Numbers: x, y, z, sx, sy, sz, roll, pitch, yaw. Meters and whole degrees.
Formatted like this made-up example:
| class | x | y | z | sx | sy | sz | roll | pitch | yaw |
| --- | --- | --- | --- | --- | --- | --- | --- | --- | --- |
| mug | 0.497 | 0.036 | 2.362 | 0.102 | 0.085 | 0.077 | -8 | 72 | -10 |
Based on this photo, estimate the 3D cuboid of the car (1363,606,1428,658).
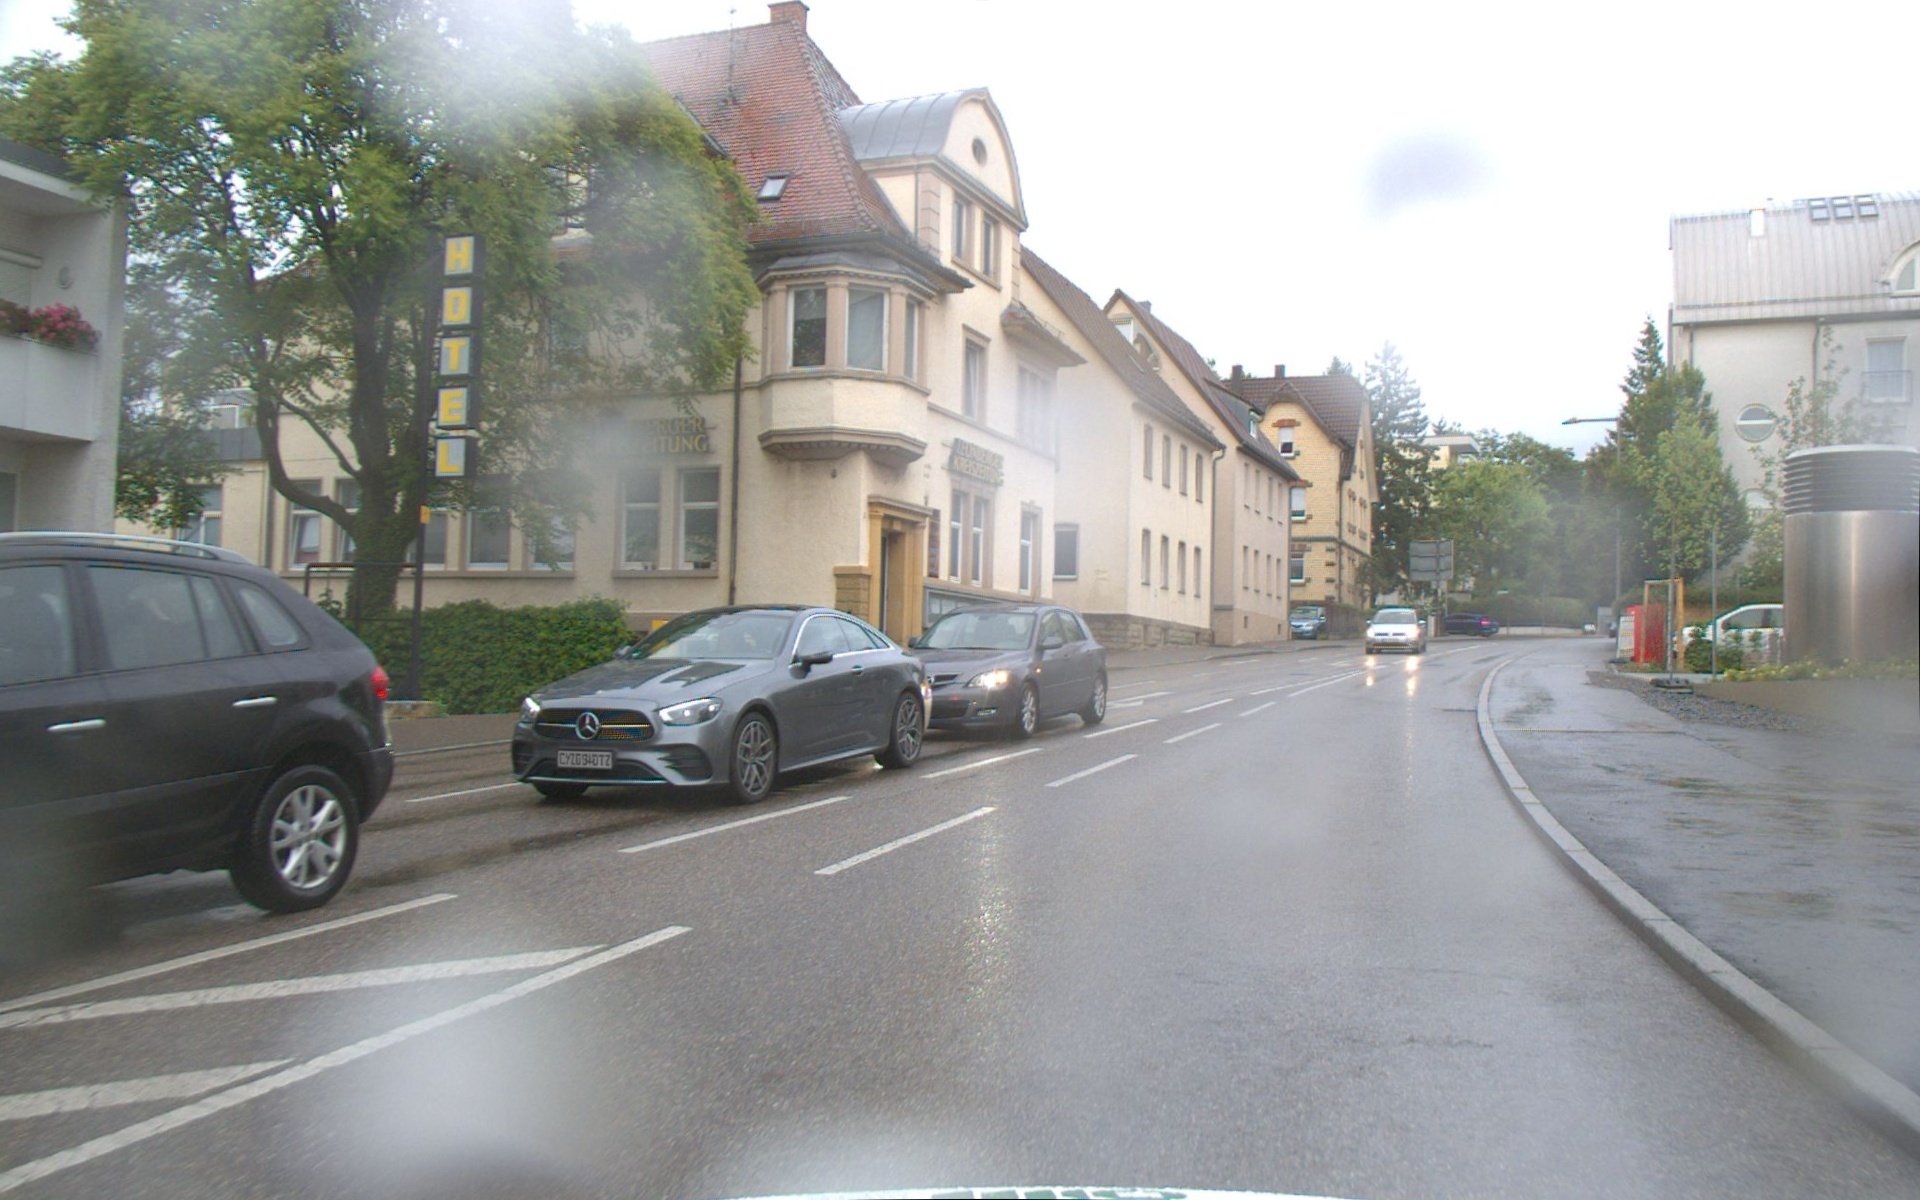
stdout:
| class | x | y | z | sx | sy | sz | roll | pitch | yaw |
| --- | --- | --- | --- | --- | --- | --- | --- | --- | --- |
| car | 14.532 | 1.037 | 55.122 | 1.596 | 1.626 | 3.231 | 2 | 0 | 23 |

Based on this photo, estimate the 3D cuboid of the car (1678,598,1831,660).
| class | x | y | z | sx | sy | sz | roll | pitch | yaw |
| --- | --- | --- | --- | --- | --- | --- | --- | --- | --- |
| car | 18.784 | 0.675 | 39.237 | 3.156 | 1.311 | 1.695 | 2 | 0 | 23 |

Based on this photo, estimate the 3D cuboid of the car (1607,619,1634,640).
| class | x | y | z | sx | sy | sz | roll | pitch | yaw |
| --- | --- | --- | --- | --- | --- | --- | --- | --- | --- |
| car | 45.664 | 2.016 | 114.314 | 1.656 | 1.311 | 3.231 | 2 | 0 | 23 |

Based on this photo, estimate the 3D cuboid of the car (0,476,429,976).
| class | x | y | z | sx | sy | sz | roll | pitch | yaw |
| --- | --- | --- | --- | --- | --- | --- | --- | --- | --- |
| car | -4.271 | 0.479 | 6.655 | 1.736 | 1.847 | 4.315 | -1 | -1 | 21 |

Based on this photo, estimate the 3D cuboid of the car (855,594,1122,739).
| class | x | y | z | sx | sy | sz | roll | pitch | yaw |
| --- | --- | --- | --- | --- | --- | --- | --- | --- | --- |
| car | 0.463 | 0.714 | 19.184 | 1.736 | 1.477 | 4.186 | -1 | -1 | 21 |

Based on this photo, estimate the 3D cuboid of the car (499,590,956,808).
| class | x | y | z | sx | sy | sz | roll | pitch | yaw |
| --- | --- | --- | --- | --- | --- | --- | --- | --- | --- |
| car | -1.673 | 0.705 | 13.643 | 1.736 | 1.477 | 4.539 | -1 | -1 | 21 |

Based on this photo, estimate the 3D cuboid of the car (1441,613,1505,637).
| class | x | y | z | sx | sy | sz | roll | pitch | yaw |
| --- | --- | --- | --- | --- | --- | --- | --- | --- | --- |
| car | 31.158 | 1.524 | 100.430 | 3.612 | 1.311 | 1.696 | 2 | 0 | 20 |

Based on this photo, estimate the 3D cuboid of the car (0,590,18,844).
| class | x | y | z | sx | sy | sz | roll | pitch | yaw |
| --- | --- | --- | --- | --- | --- | --- | --- | --- | --- |
| car | -7.352 | 0.704 | 8.533 | 1.736 | 1.545 | 4.186 | -1 | -1 | 21 |

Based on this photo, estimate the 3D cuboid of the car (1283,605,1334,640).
| class | x | y | z | sx | sy | sz | roll | pitch | yaw |
| --- | --- | --- | --- | --- | --- | --- | --- | --- | --- |
| car | 15.947 | 1.015 | 75.668 | 1.656 | 1.479 | 3.231 | 2 | 0 | 23 |
